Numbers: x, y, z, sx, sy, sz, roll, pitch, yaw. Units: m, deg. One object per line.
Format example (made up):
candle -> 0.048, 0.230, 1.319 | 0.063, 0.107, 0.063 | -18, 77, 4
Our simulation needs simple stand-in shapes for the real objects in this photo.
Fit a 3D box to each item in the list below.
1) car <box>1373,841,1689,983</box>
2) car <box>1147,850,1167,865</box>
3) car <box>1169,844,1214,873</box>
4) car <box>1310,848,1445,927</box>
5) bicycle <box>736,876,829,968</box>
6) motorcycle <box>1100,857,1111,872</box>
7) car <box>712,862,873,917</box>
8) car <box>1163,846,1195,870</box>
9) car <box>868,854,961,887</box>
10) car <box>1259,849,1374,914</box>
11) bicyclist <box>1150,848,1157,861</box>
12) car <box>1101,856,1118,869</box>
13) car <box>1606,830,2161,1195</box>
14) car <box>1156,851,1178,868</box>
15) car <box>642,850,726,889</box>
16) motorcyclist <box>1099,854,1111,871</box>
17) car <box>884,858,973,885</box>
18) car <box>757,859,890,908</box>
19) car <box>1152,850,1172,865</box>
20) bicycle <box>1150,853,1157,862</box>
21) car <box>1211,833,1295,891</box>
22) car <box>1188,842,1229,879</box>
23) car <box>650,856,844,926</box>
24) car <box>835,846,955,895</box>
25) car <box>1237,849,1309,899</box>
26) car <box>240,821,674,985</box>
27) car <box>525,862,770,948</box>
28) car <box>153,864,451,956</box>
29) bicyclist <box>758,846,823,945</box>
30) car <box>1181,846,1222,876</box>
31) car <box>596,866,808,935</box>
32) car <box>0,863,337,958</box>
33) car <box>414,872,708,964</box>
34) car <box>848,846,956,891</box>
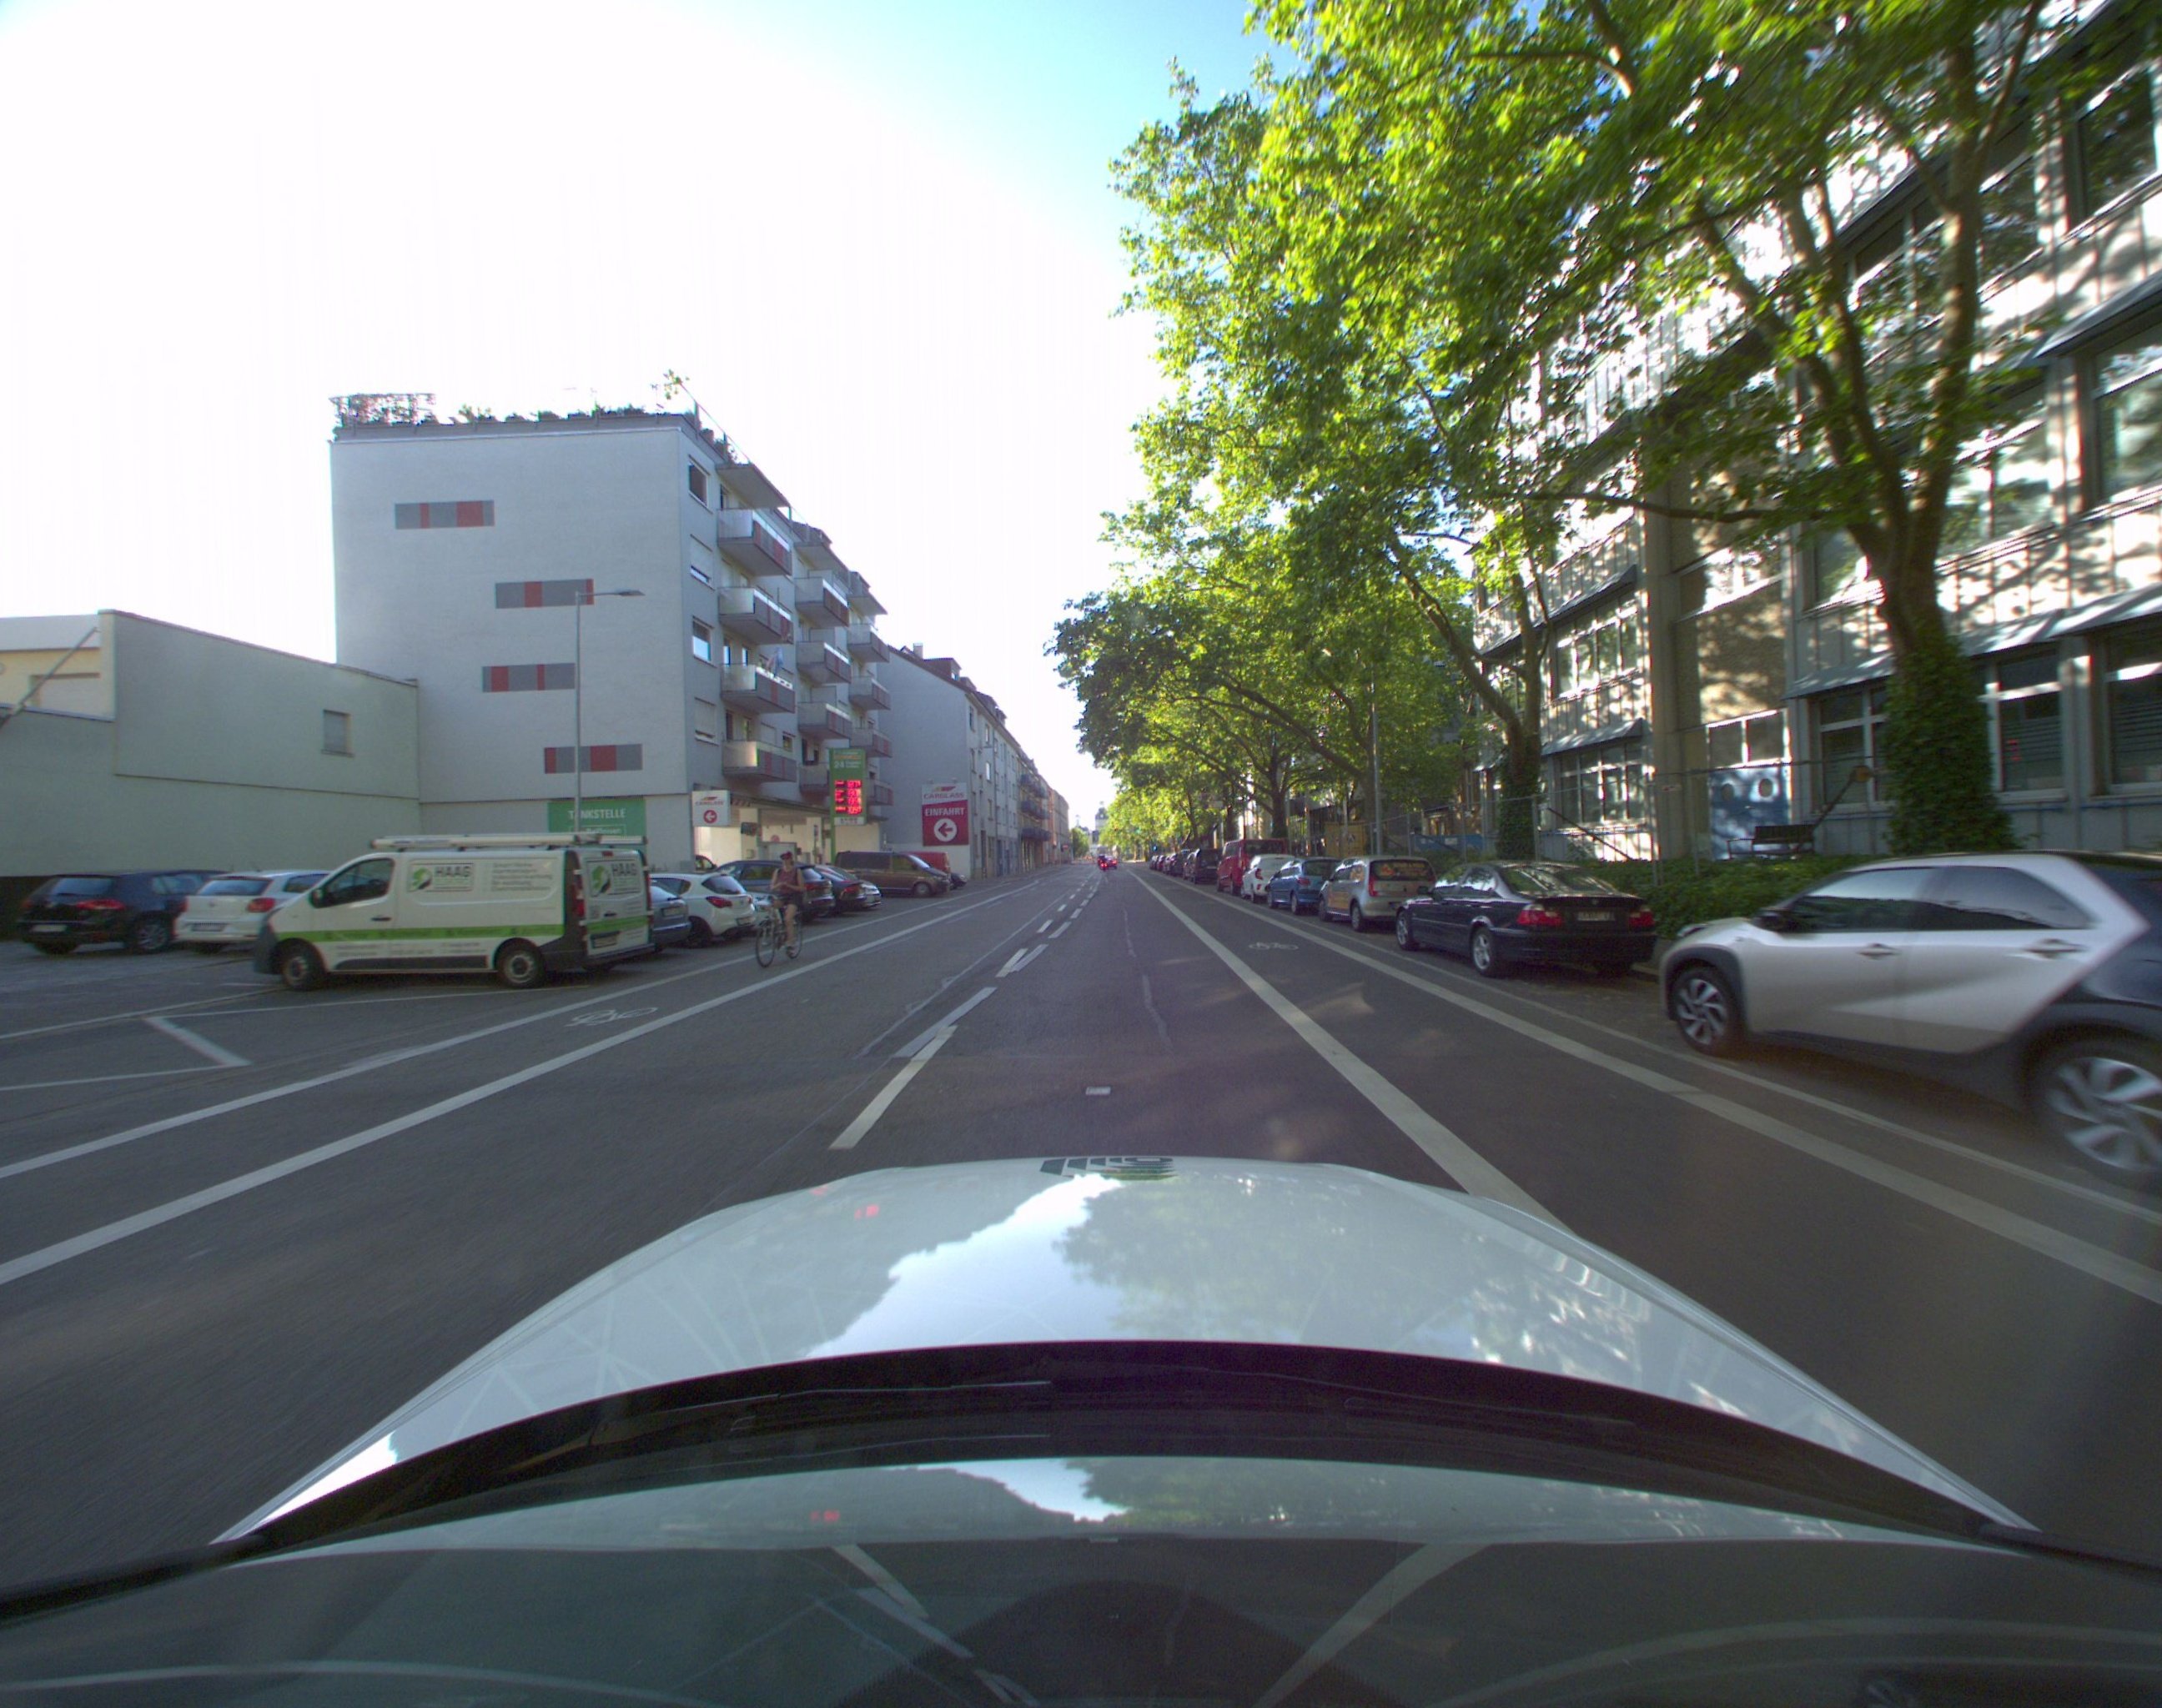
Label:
car -> 5.662, 0.605, 11.059 | 1.848, 1.522, 4.600 | 0, 0, 1
car -> 7.749, 0.361, 83.454 | 1.687, 1.449, 4.435 | 0, 0, 0
car -> 7.177, 0.287, 53.370 | 1.822, 1.841, 4.888 | 0, 0, -6
car -> 6.031, 0.611, 16.954 | 1.608, 1.475, 3.493 | 0, 0, 1
bicycle -> -4.753, 1.042, 13.122 | 0.604, 1.239, 2.050 | -4, 1, 2
motorcycle -> 2.302, 0.985, 78.036 | 1.008, 1.306, 2.673 | -2, 0, 1
car -> -8.374, 1.007, 23.911 | 3.972, 1.455, 1.917 | -1, 0, 1
car -> 7.053, 0.271, 58.791 | 1.770, 1.627, 4.620 | 0, 0, 0
car -> -8.183, 0.800, 40.357 | 4.157, 1.563, 1.887 | 0, 0, 1
car -> 6.036, 0.641, 21.348 | 1.850, 1.510, 3.928 | 0, 0, -1
bicyclist -> 8.581, 0.090, 96.367 | 0.654, 1.530, 0.852 | -1, -1, 1
car -> 3.182, 0.937, 90.353 | 1.822, 1.420, 3.816 | -2, 0, 1
car -> 5.458, 0.647, 4.939 | 1.848, 1.522, 4.298 | -1, 0, 1
car -> 7.664, 0.434, 73.115 | 1.686, 1.479, 4.320 | 0, 0, 2
car -> -19.463, 0.747, 40.174 | 1.714, 1.747, 4.587 | -2, -1, 2
motorcyclist -> 2.288, 0.806, 78.131 | 1.008, 1.602, 1.406 | -2, 0, 1
car -> -7.922, 0.911, 42.656 | 4.213, 1.380, 2.047 | 0, 0, 1
car -> -8.274, 0.942, 26.391 | 3.672, 1.513, 1.831 | 0, 0, 1
car -> 7.817, 0.332, 78.571 | 1.686, 1.466, 4.068 | 0, 0, 3
bicycle -> 8.579, 0.428, 96.296 | 0.653, 1.070, 1.927 | -1, 0, 1
car -> 6.361, 0.265, 30.695 | 2.071, 1.994, 5.170 | 0, 0, 0
car -> 6.495, 0.322, 41.959 | 1.686, 1.813, 4.133 | 0, 0, 3
car -> -8.638, 0.919, 21.348 | 4.179, 1.684, 2.029 | -1, 0, 1
car -> -7.801, 0.677, 34.458 | 4.505, 1.951, 2.057 | 0, 0, 1
car -> 6.017, 0.582, 25.915 | 1.631, 1.485, 3.763 | 0, 0, 3
car -> -9.054, 0.670, 12.167 | 4.826, 2.216, 2.141 | 0, 0, 1
car -> -8.712, 0.994, 16.623 | 3.972, 1.559, 1.854 | -1, 0, 1
car -> -14.555, 0.960, 15.594 | 1.783, 1.464, 4.002 | 0, 0, 2
bicyclist -> -4.764, 0.657, 13.407 | 0.604, 1.544, 0.934 | -4, 0, 2
car -> 6.824, 0.386, 46.576 | 1.687, 1.627, 4.329 | 0, 0, 0
car -> -8.613, 1.035, 18.749 | 3.972, 1.433, 1.853 | -1, 0, 1
car -> -16.787, 0.952, 15.337 | 1.783, 1.464, 4.002 | 0, 0, 2
car -> -9.019, 1.082, 14.387 | 3.972, 1.433, 1.853 | -1, 0, 1
car -> -8.124, 0.624, 37.283 | 4.404, 1.951, 2.147 | 0, 0, 1
